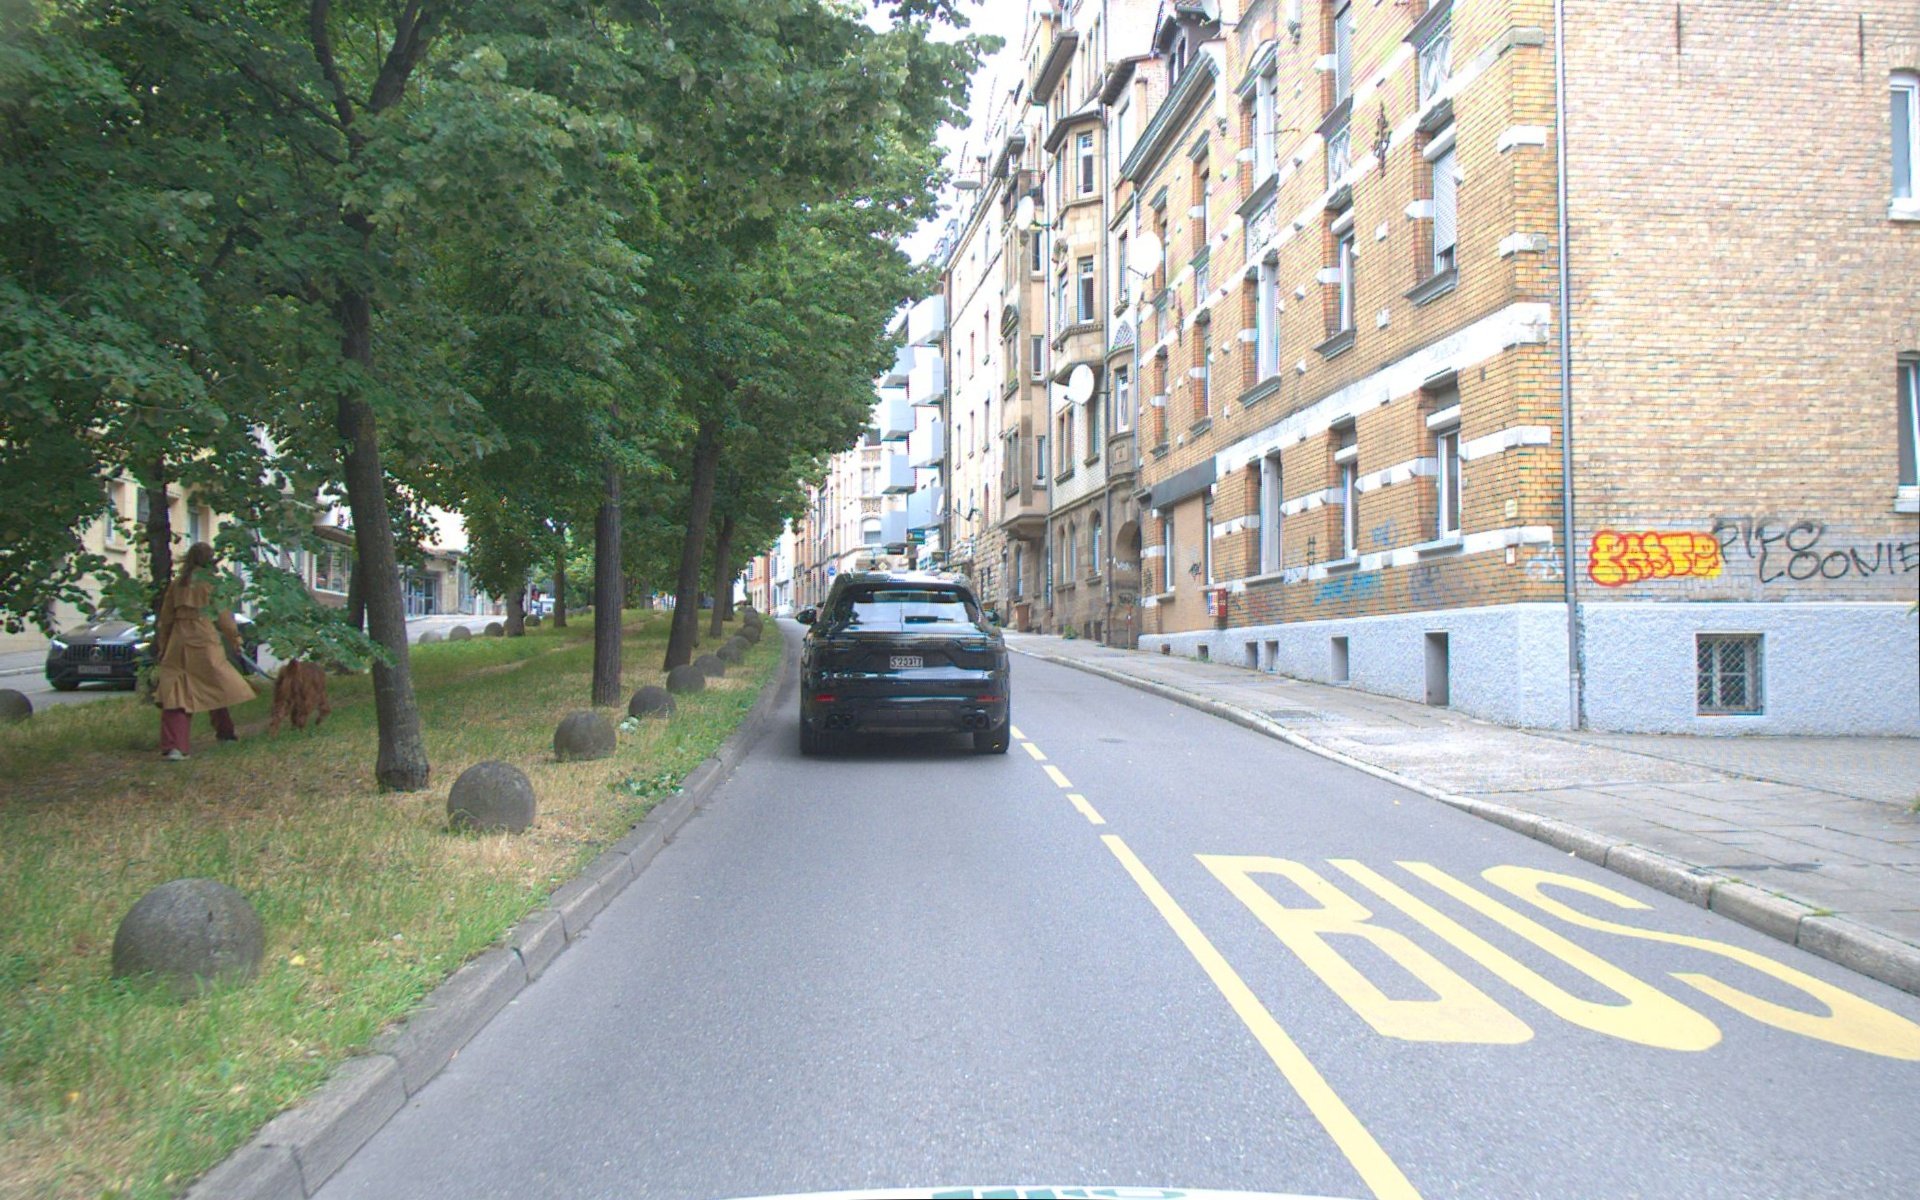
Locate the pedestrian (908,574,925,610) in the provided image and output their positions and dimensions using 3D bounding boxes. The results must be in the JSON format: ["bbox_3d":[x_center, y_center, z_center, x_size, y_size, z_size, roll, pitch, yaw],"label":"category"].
[{"bbox_3d":[-2.098,-0.382,80.397,0.737,1.722,0.857,0,-1,-7],"label":"pedestrian"}]

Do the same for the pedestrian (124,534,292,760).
[{"bbox_3d":[-6.197,0.381,13.689,0.816,1.742,1.122,-3,-1,-2],"label":"pedestrian"}]

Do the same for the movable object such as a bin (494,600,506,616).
[{"bbox_3d":[-30.869,0.535,110.993,0.680,1.078,0.687,1,-2,-14],"label":"movable object such as a bin"}]

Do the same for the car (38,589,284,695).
[{"bbox_3d":[-12.696,0.602,26.647,1.723,1.406,4.668,-1,2,-1],"label":"car"}]

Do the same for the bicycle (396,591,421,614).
[{"bbox_3d":[-27.578,0.138,82.685,0.754,1.103,2.016,2,-2,-30],"label":"bicycle"}]

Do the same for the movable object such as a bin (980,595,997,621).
[{"bbox_3d":[1.064,0.304,61.695,0.583,0.920,0.502,1,-4,-7],"label":"movable object such as a bin"}]

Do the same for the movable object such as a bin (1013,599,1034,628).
[{"bbox_3d":[2.033,0.425,53.130,0.583,0.920,0.562,1,0,-7],"label":"movable object such as a bin"}]

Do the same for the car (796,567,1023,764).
[{"bbox_3d":[-0.556,0.545,16.365,1.954,1.694,3.997,1,1,-4],"label":"car"}]
